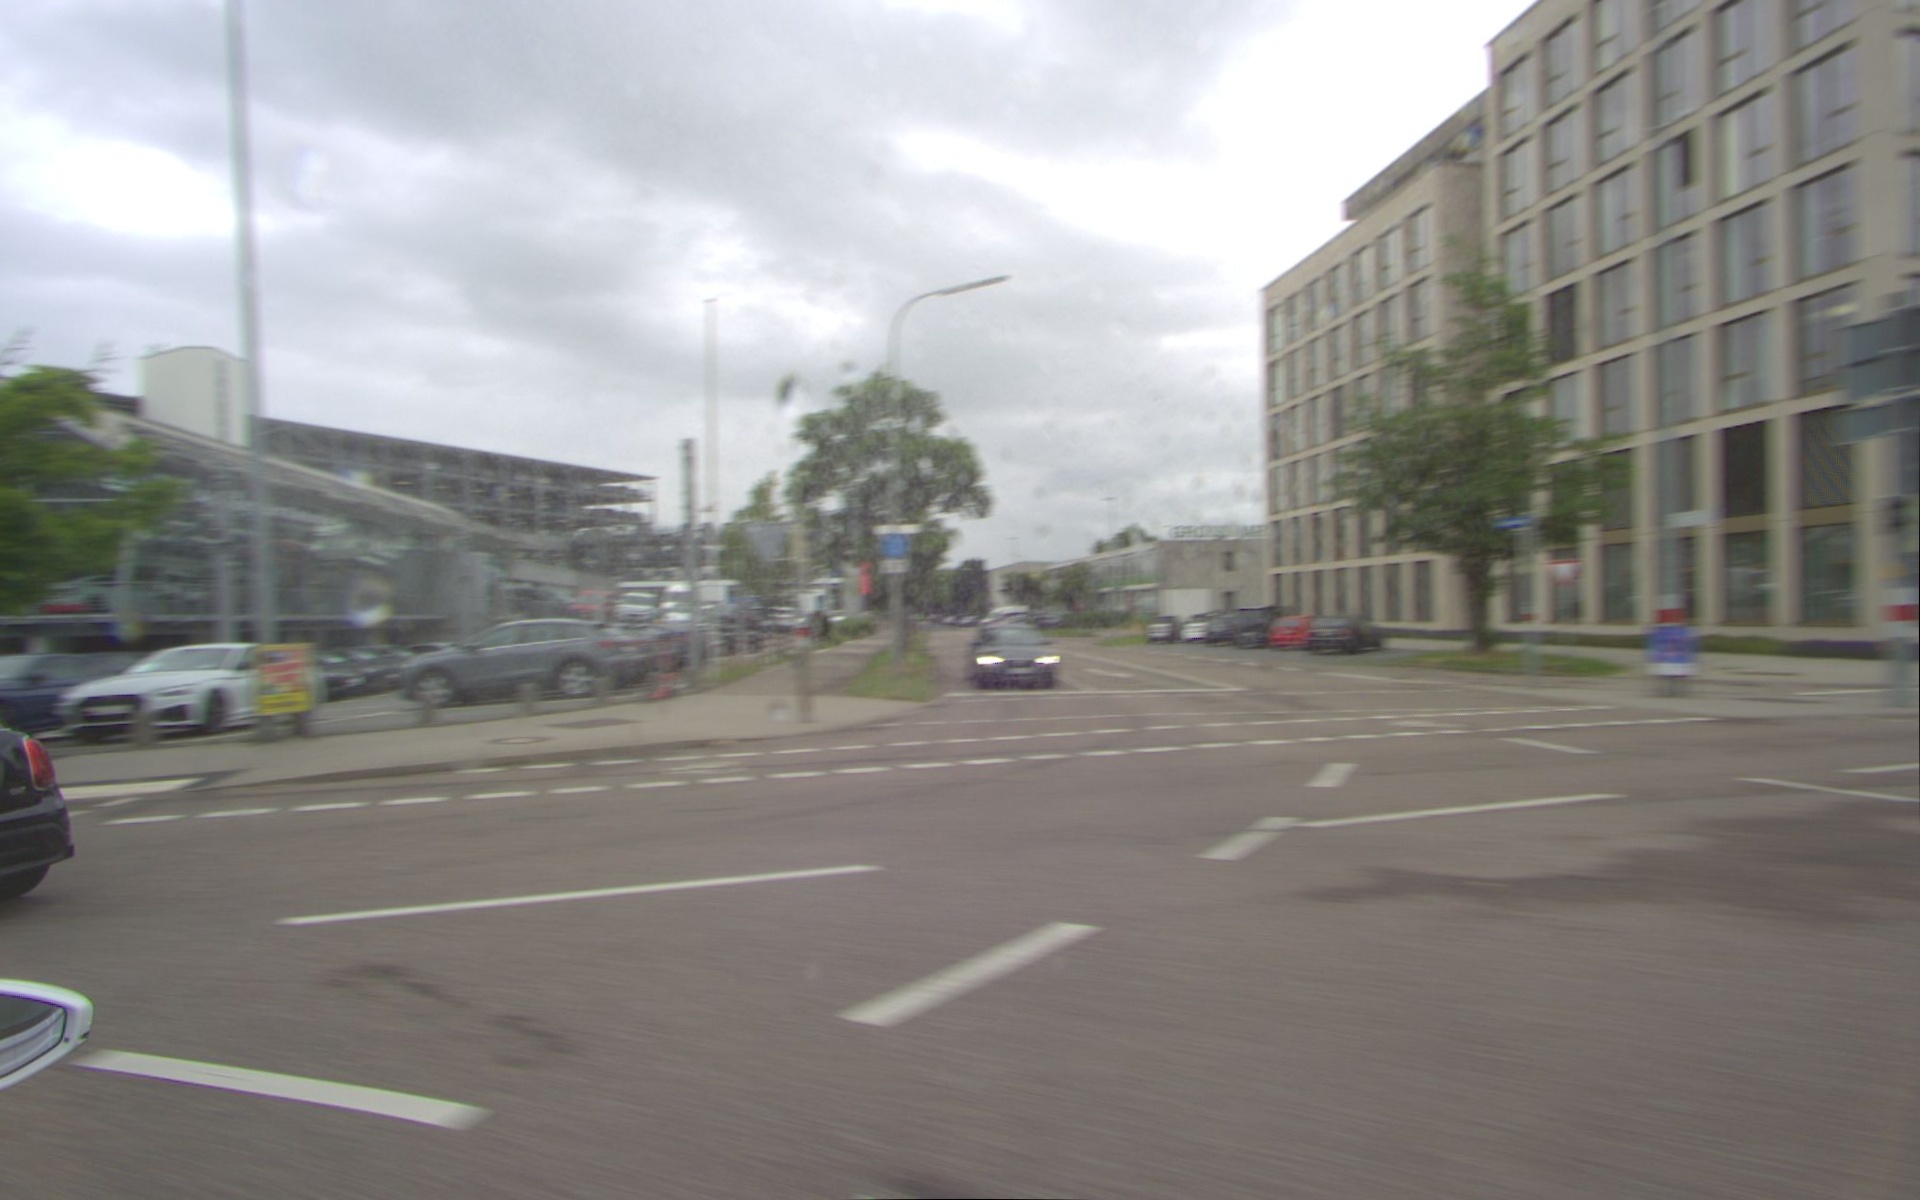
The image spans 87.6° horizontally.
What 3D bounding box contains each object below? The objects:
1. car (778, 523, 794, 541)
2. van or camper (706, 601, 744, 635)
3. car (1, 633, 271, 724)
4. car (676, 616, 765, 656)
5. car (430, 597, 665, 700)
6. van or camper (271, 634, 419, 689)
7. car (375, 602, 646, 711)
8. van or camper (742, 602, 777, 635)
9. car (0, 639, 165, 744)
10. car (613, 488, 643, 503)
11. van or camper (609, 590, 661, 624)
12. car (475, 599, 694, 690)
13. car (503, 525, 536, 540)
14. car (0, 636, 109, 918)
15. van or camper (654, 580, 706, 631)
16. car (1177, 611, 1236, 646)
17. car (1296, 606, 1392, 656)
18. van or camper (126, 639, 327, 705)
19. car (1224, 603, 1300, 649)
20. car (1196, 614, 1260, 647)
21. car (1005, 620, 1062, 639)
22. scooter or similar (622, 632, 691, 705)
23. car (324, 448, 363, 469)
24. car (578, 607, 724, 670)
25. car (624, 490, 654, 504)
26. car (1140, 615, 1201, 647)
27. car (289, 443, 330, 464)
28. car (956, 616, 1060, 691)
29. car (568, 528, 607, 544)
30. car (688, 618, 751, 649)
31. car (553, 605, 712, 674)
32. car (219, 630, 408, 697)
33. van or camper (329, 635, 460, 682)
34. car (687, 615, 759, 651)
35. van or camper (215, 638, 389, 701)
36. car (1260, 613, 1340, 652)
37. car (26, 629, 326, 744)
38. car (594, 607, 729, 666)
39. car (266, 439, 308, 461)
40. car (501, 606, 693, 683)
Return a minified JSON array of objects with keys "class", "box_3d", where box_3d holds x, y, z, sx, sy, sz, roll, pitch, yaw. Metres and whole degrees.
[{"class":"car","box_3d":[-22.234,-8.691,128.101,1.962,1.906,4.000,-1,-2,-9]},{"class":"van or camper","box_3d":[-15.034,1.184,64.175,1.962,2.039,4.000,1,-2,-8]},{"class":"car","box_3d":[-19.973,1.856,24.479,4.725,1.965,2.000,-1,-1,-7]},{"class":"car","box_3d":[-11.446,1.719,48.026,3.923,1.861,1.760,1,-2,-7]},{"class":"car","box_3d":[-9.455,1.096,23.339,4.627,2.039,2.000,-3,-1,-9]},{"class":"van or camper","box_3d":[-21.226,2.120,34.720,3.924,1.839,1.847,1,-2,-8]},{"class":"car","box_3d":[-9.144,1.132,20.784,4.696,1.886,2.000,-3,-1,-9]},{"class":"van or camper","box_3d":[-12.889,1.215,64.527,1.962,2.039,4.000,1,-2,-8]},{"class":"car","box_3d":[-14.904,1.445,15.552,2.031,1.504,4.519,-2,-4,-9]},{"class":"car","box_3d":[-48.817,-15.361,147.274,3.937,1.689,1.993,-1,-1,28]},{"class":"van or camper","box_3d":[-17.037,0.391,52.651,1.962,1.672,4.000,1,-2,-8]},{"class":"car","box_3d":[-9.716,1.138,26.335,4.943,2.039,2.266,-3,-1,-9]},{"class":"car","box_3d":[-57.123,-8.738,129.859,3.937,1.689,1.993,-1,-1,28]},{"class":"car","box_3d":[-6.799,0.928,5.034,3.572,1.435,1.791,1,1,3]},{"class":"van or camper","box_3d":[-17.830,0.437,63.985,2.496,3.065,4.843,1,-2,-8]},{"class":"car","box_3d":[13.300,1.550,53.923,1.574,1.821,3.404,-1,-2,44]},{"class":"car","box_3d":[14.724,1.177,38.273,4.093,1.791,1.871,1,-2,-44]},{"class":"van or camper","box_3d":[-19.965,1.949,27.424,3.924,1.698,2.000,1,-2,-8]},{"class":"car","box_3d":[13.854,1.212,45.835,1.975,1.990,4.217,-2,-2,37]},{"class":"car","box_3d":[13.199,1.496,49.196,1.677,1.530,3.790,-2,-2,38]},{"class":"car","box_3d":[6.923,2.783,94.936,5.091,1.742,2.144,1,-2,-7]},{"class":"scooter or similar","box_3d":[-5.542,1.233,18.375,0.548,1.235,1.559,2,0,9]},{"class":"car","box_3d":[-67.315,-15.460,109.342,3.937,1.689,1.993,-1,-1,28]},{"class":"car","box_3d":[-11.302,1.403,36.903,4.815,2.039,2.000,-3,-1,-9]},{"class":"car","box_3d":[-47.876,-15.327,149.293,3.937,1.689,1.993,-1,-1,28]},{"class":"car","box_3d":[11.673,1.728,55.410,1.748,1.754,3.404,-1,-2,44]},{"class":"car","box_3d":[-69.300,-15.575,106.710,3.937,1.689,1.993,-1,-1,28]},{"class":"car","box_3d":[1.027,1.175,23.715,1.946,1.571,4.614,-1,-1,-4]},{"class":"car","box_3d":[-52.798,-9.031,141.894,5.243,1.970,2.204,-1,-1,24]},{"class":"car","box_3d":[-16.384,2.319,68.312,3.923,2.039,2.000,1,-2,-7]},{"class":"car","box_3d":[-11.085,1.326,34.192,4.815,2.039,2.000,-3,-1,-9]},{"class":"car","box_3d":[-20.942,2.019,32.601,4.725,1.965,2.000,-1,-1,-7]},{"class":"van or camper","box_3d":[-21.481,2.231,38.191,3.924,1.733,1.847,1,-2,-8]},{"class":"car","box_3d":[-14.120,1.979,59.838,3.923,2.039,2.000,1,-2,-7]},{"class":"van or camper","box_3d":[-19.752,2.076,30.203,3.924,1.839,1.847,1,-2,-8]},{"class":"car","box_3d":[14.524,1.390,42.673,1.867,1.571,4.101,-2,-2,40]},{"class":"car","box_3d":[-12.162,1.305,15.949,1.839,1.504,4.231,-2,-3,-7]},{"class":"car","box_3d":[-11.735,1.424,39.709,4.815,2.039,2.000,-3,-1,-9]},{"class":"car","box_3d":[-70.236,-15.668,104.458,3.937,1.689,1.993,-1,-1,28]},{"class":"car","box_3d":[-10.338,1.272,28.923,4.869,1.900,2.053,-3,-1,-11]}]
